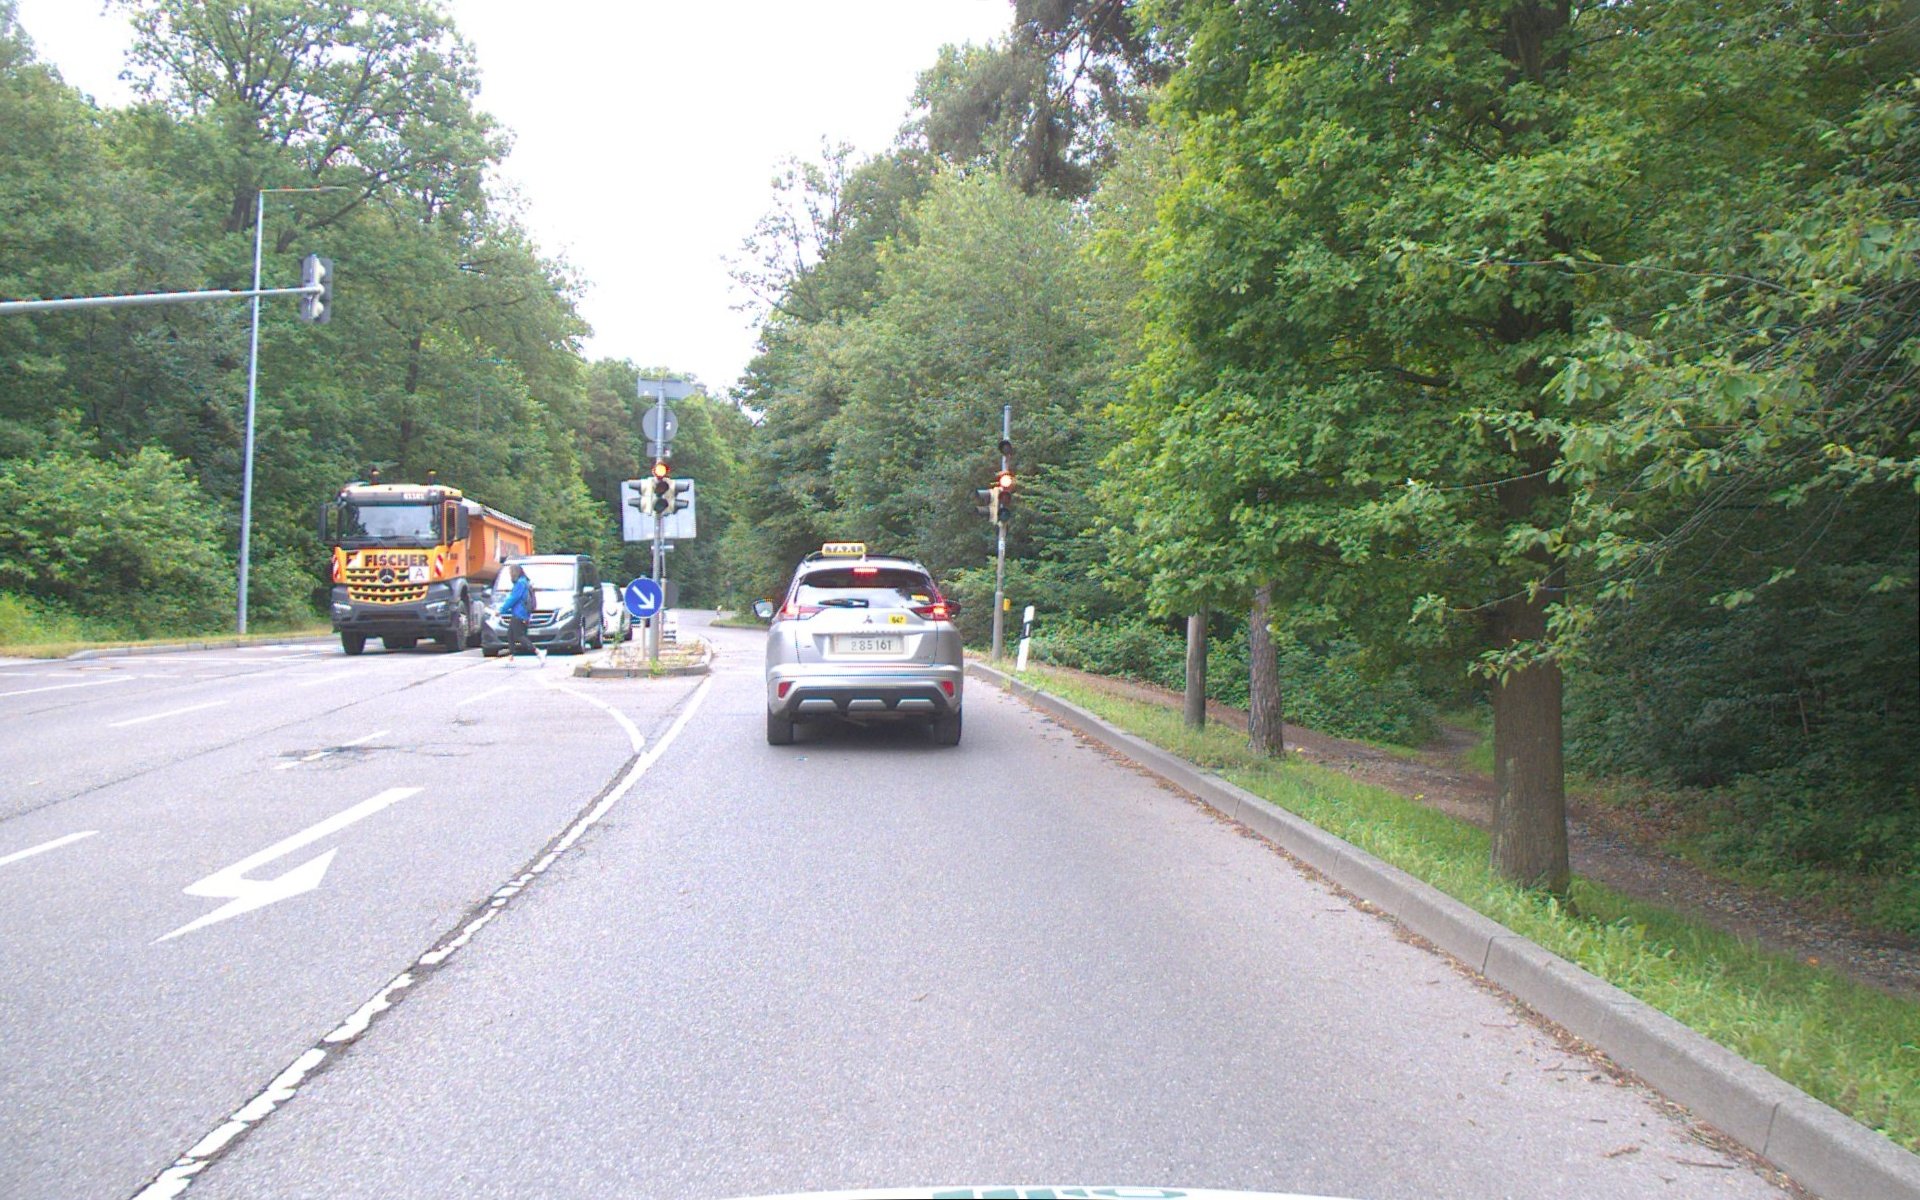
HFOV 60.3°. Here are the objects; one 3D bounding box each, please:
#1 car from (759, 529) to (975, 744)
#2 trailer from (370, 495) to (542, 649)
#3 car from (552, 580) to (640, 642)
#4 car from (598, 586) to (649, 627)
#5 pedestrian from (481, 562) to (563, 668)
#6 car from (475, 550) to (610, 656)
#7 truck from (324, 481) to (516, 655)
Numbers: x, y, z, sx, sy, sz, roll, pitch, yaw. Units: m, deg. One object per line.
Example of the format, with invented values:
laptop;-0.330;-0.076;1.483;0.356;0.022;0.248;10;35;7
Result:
car;-0.946;0.311;15.990;1.810;1.811;3.996;1;0;-5
trailer;-12.141;-0.608;40.596;2.687;3.376;8.553;-1;0;-8
car;-8.839;0.224;40.376;1.581;1.344;3.718;-2;1;-5
car;-13.287;0.236;65.484;1.778;1.534;3.713;-2;0;-9
pedestrian;-7.083;0.232;26.780;1.025;1.677;1.069;0;1;0
car;-8.263;0.051;33.115;1.955;1.927;4.832;-1;0;-7
truck;-11.497;-0.626;35.882;2.687;3.376;7.147;-1;0;-8
